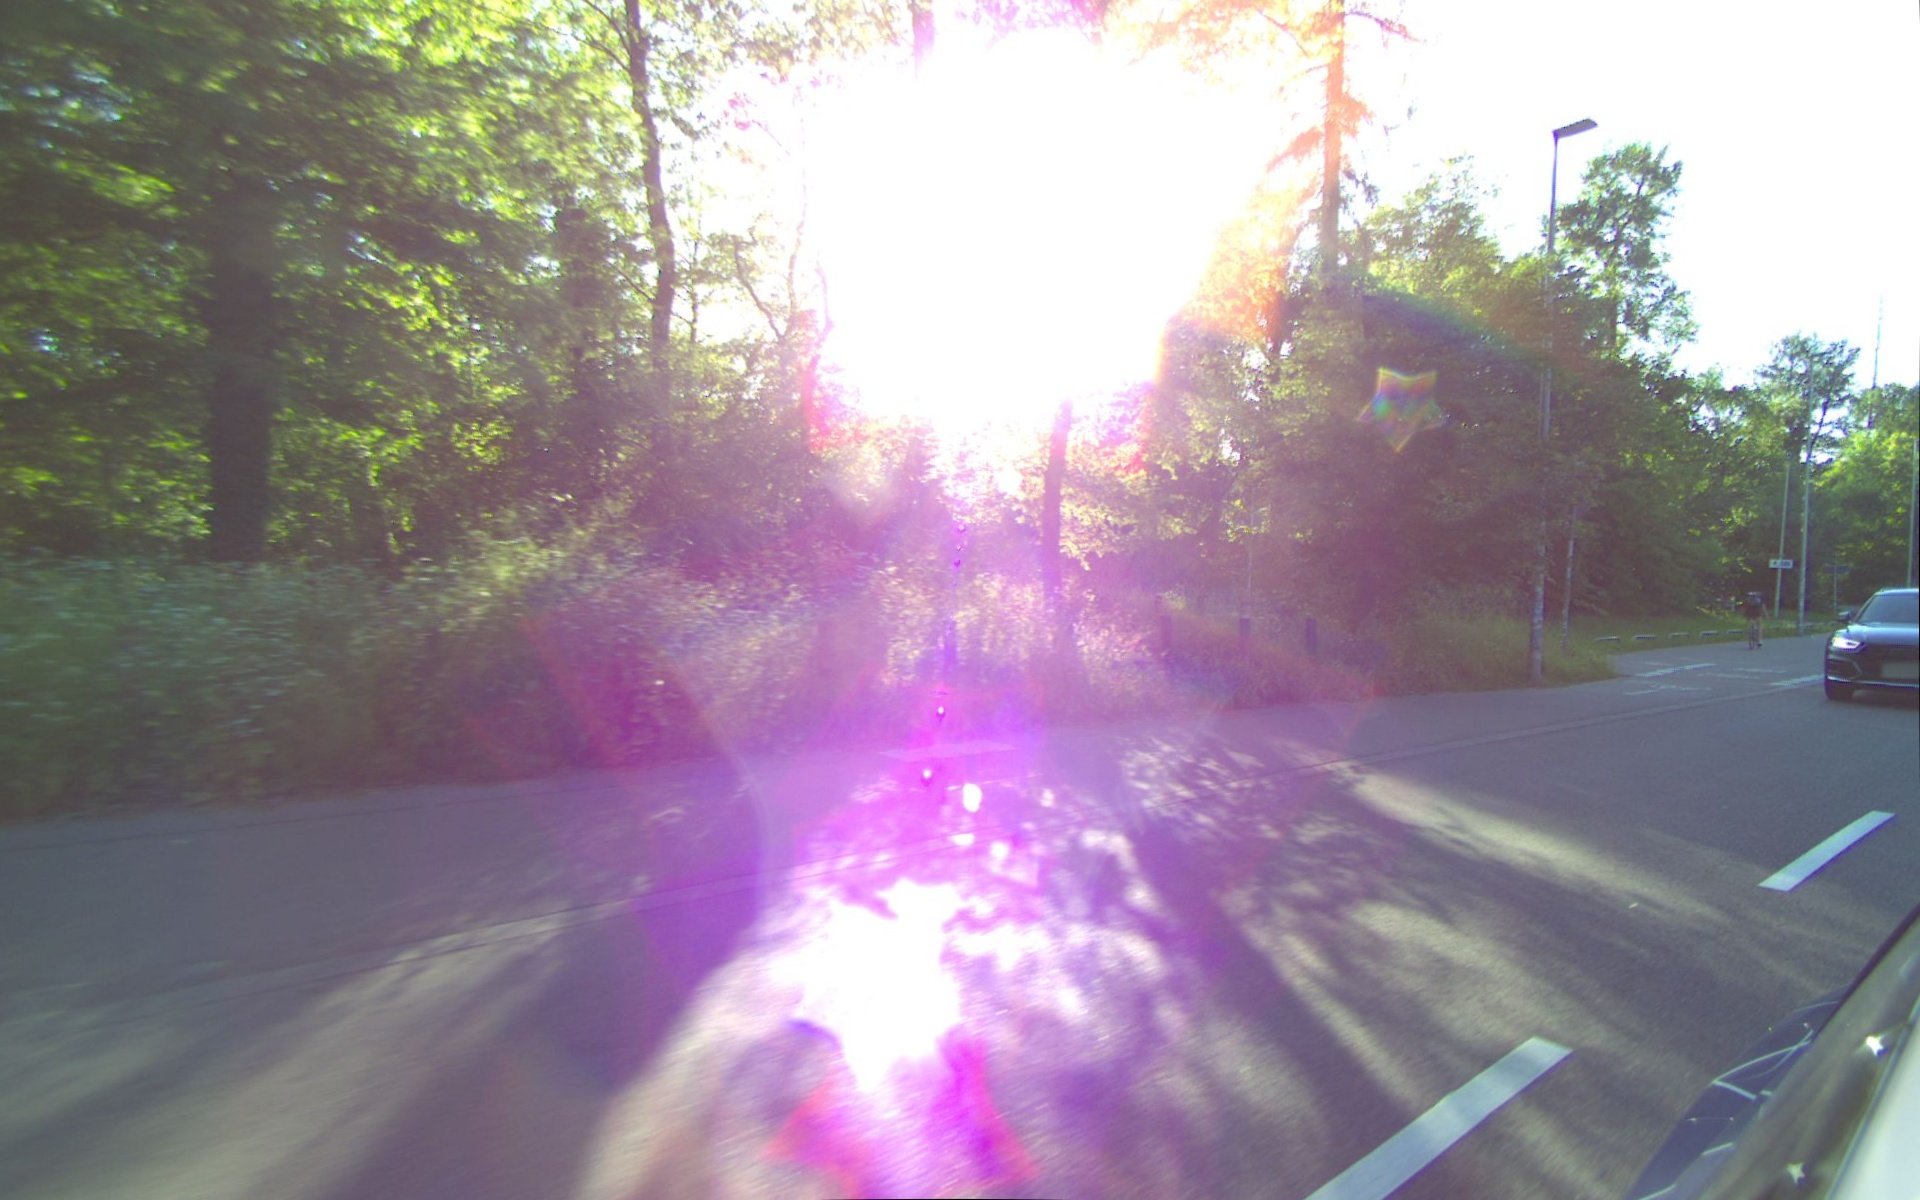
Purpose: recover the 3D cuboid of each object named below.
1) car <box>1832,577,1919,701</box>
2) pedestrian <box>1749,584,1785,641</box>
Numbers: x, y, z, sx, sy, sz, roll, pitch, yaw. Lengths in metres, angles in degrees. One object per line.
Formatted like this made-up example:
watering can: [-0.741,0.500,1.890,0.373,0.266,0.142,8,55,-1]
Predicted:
car: [14.318,0.511,14.700,3.929,1.638,1.861,-1,2,-40]
pedestrian: [22.163,0.331,27.806,0.747,1.538,0.641,0,0,-41]
